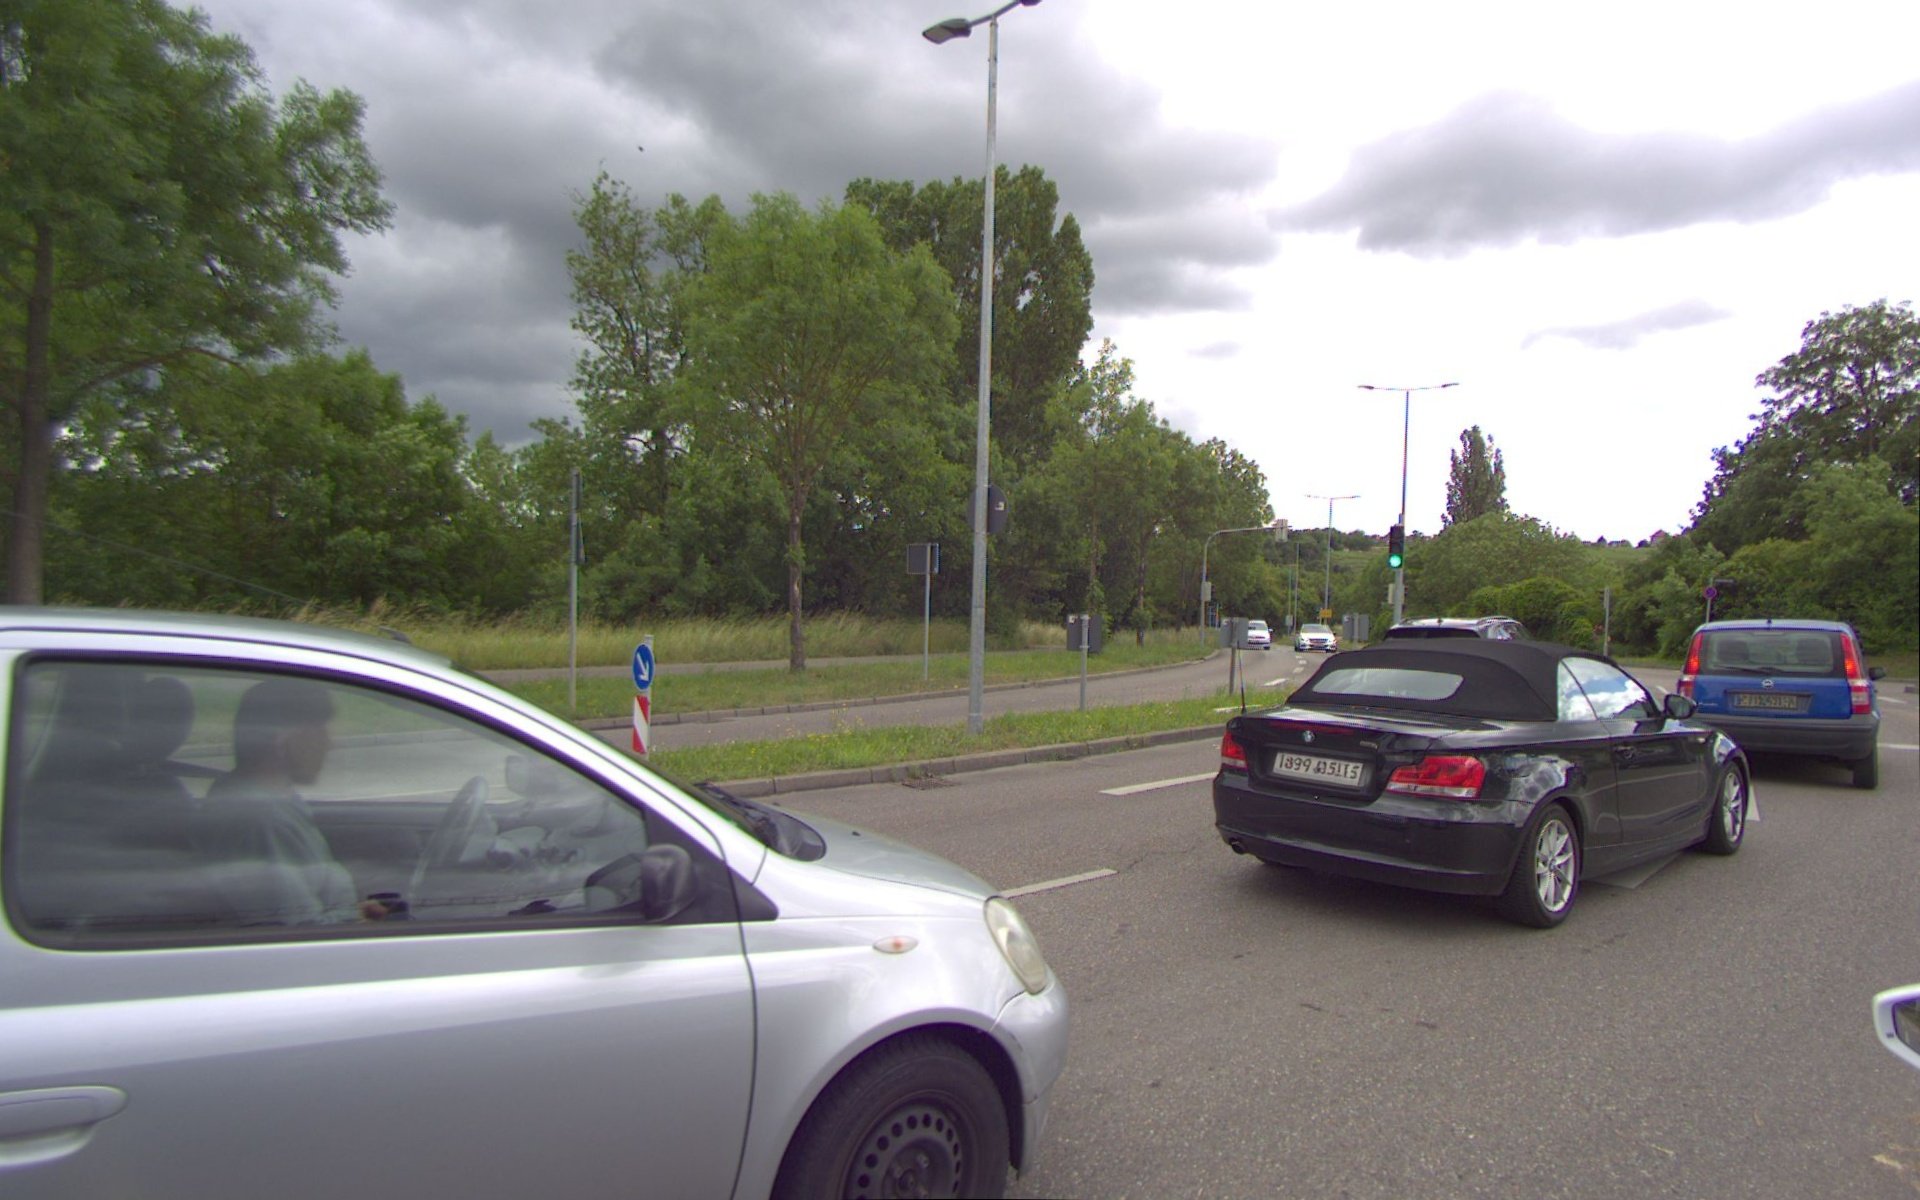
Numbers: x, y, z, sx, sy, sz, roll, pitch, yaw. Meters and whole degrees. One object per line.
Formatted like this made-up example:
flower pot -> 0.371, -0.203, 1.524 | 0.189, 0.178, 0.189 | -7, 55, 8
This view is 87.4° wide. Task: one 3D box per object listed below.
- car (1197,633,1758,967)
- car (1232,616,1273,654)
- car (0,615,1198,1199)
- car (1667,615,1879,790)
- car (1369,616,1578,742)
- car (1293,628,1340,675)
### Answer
car -> 3.384, 0.928, 6.229 | 4.047, 1.386, 1.552 | 1, -1, -38
car -> 16.614, 1.934, 57.248 | 2.041, 1.783, 4.323 | 3, 2, 15
car -> -1.349, 0.809, 2.261 | 3.589, 1.489, 1.659 | 1, -3, -33
car -> 8.604, 0.938, 10.582 | 1.526, 1.527, 3.362 | 0, -1, 42
car -> 7.288, 1.021, 14.088 | 1.638, 1.527, 3.749 | -3, -3, 43
car -> 18.544, 2.632, 52.453 | 1.896, 2.021, 4.323 | 3, 2, 15
